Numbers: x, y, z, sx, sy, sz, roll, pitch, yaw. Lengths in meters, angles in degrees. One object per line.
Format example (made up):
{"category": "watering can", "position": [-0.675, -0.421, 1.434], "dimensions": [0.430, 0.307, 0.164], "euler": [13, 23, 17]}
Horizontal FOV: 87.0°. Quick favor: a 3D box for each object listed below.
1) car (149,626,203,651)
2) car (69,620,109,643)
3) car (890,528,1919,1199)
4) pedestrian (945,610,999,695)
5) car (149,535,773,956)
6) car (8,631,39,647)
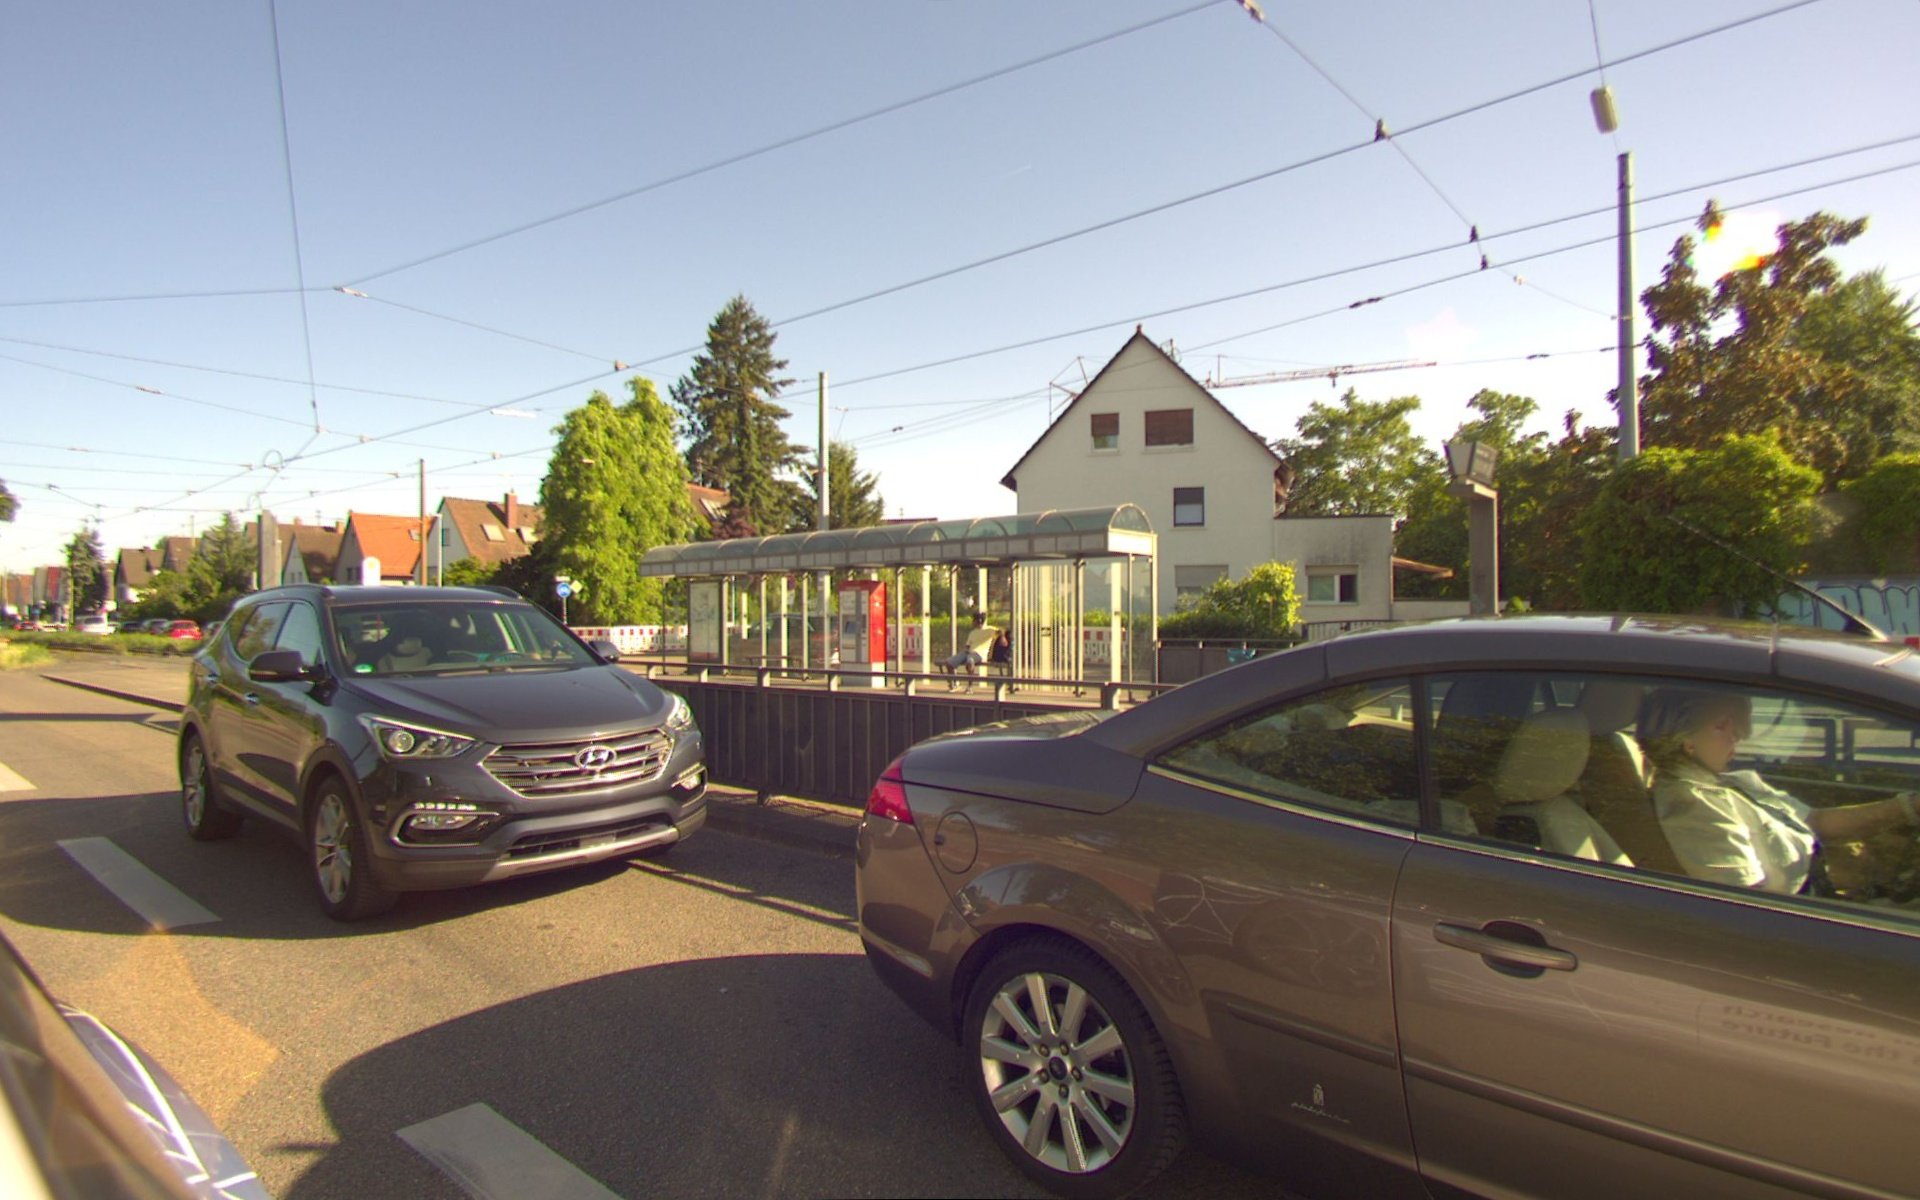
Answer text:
{"category": "car", "position": [-49.162, 2.390, 63.416], "dimensions": [3.999, 1.475, 1.972], "euler": [-2, -2, 42]}
{"category": "car", "position": [-71.624, 2.581, 83.187], "dimensions": [3.999, 1.785, 1.972], "euler": [-2, -2, 42]}
{"category": "car", "position": [1.988, 0.680, 2.057], "dimensions": [4.189, 1.546, 1.733], "euler": [-2, -2, 38]}
{"category": "pedestrian", "position": [0.208, 0.894, 17.472], "dimensions": [0.710, 1.425, 0.616], "euler": [-2, -2, 39]}
{"category": "car", "position": [-3.265, 0.648, 6.226], "dimensions": [4.296, 1.709, 1.862], "euler": [-2, -2, 40]}
{"category": "car", "position": [-97.651, 4.075, 105.550], "dimensions": [3.998, 1.674, 1.973], "euler": [-2, -2, 41]}
